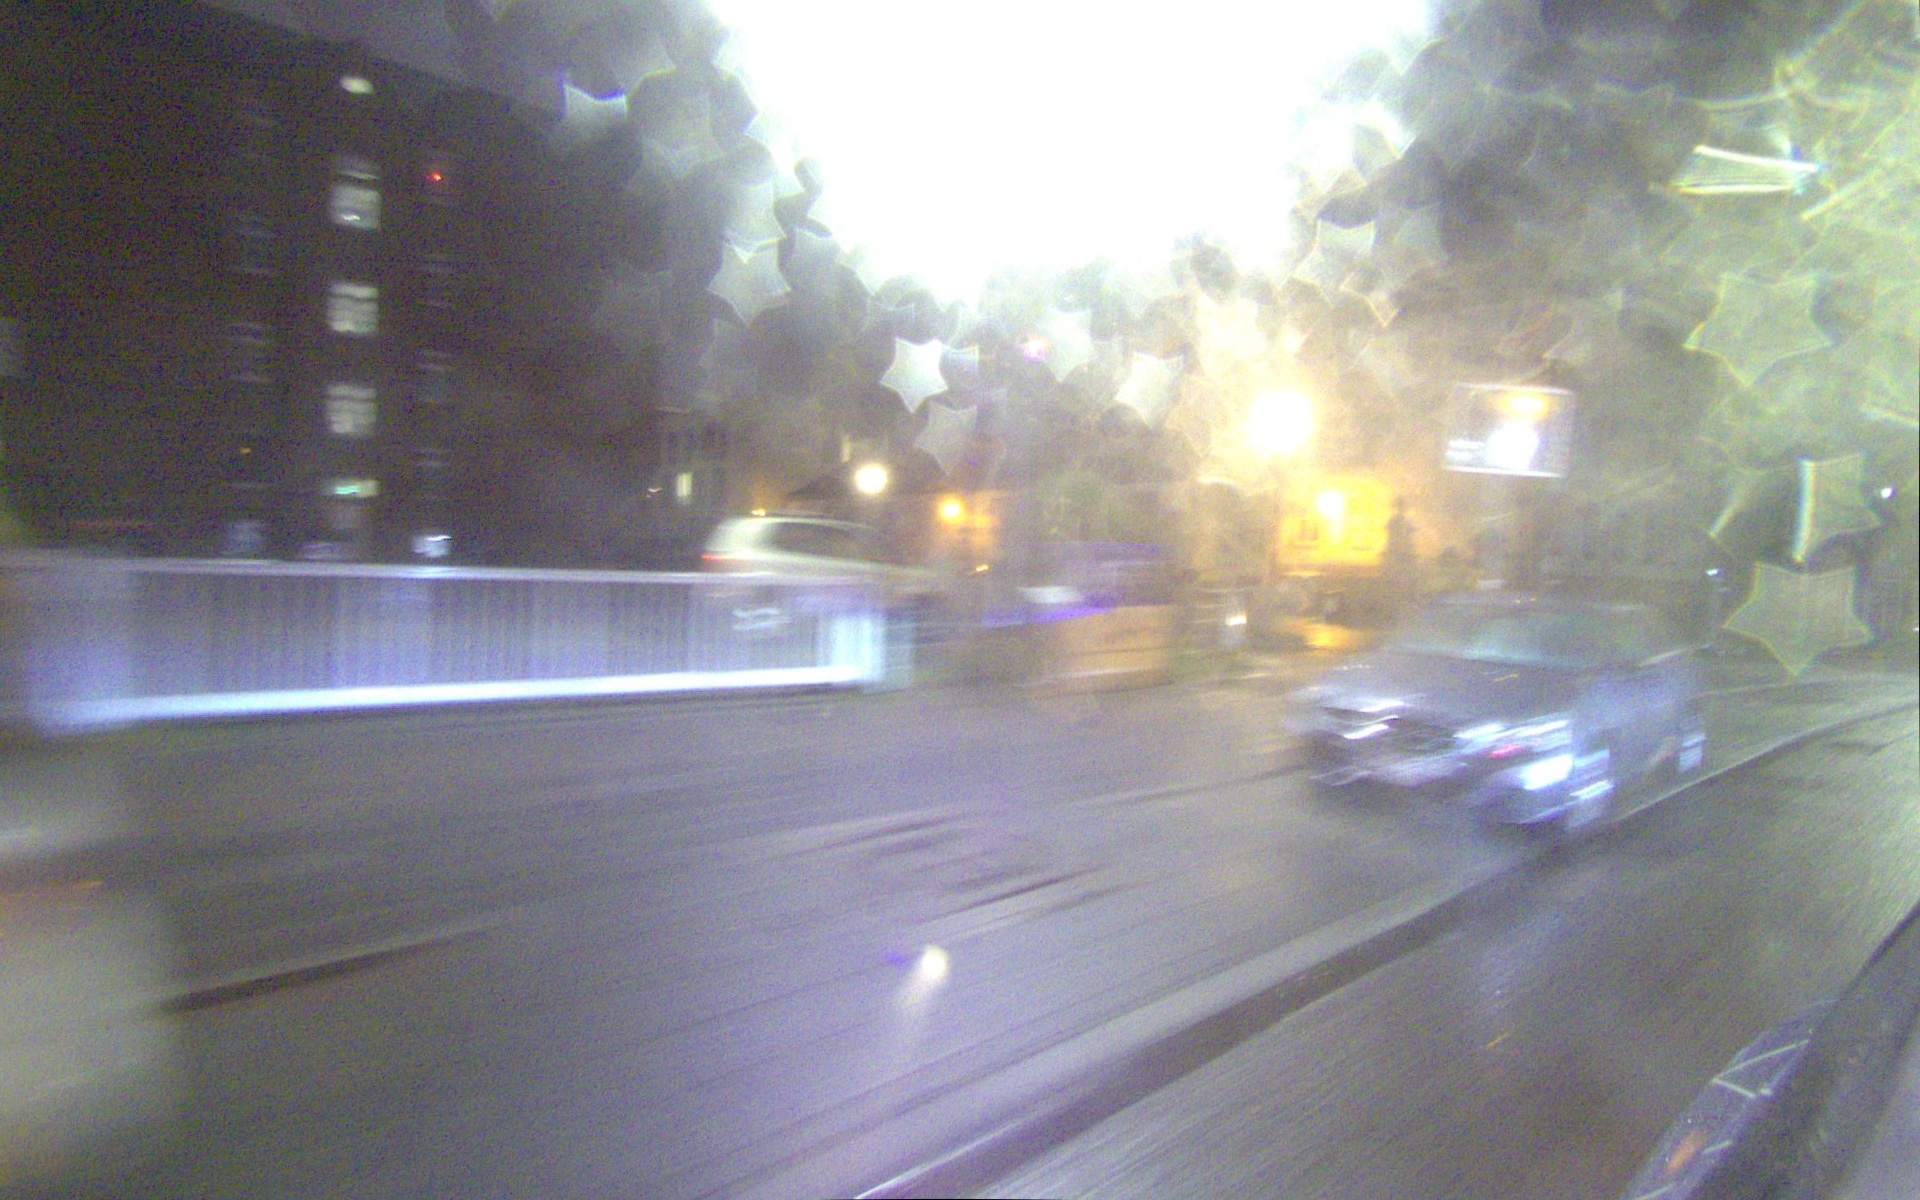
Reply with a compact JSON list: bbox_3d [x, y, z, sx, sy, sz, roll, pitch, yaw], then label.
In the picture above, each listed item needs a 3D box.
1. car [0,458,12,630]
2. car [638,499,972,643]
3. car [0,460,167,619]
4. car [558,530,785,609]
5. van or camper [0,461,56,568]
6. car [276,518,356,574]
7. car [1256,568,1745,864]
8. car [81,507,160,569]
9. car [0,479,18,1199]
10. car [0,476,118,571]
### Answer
[{"bbox_3d":[-9.678,-0.513,7.794,3.347,1.487,1.566,2,2,-41],"label":"car"},{"bbox_3d":[-2.071,-0.392,14.137,4.183,1.716,1.909,1,3,-40],"label":"car"},{"bbox_3d":[-10.975,-0.690,10.051,4.780,1.566,1.833,2,2,-41],"label":"car"},{"bbox_3d":[-5.953,-0.611,21.116,4.184,1.486,1.830,0,2,-41],"label":"car"},{"bbox_3d":[-25.408,-2.264,26.571,2.340,2.584,5.390,0,4,-40],"label":"van or camper"},{"bbox_3d":[-20.486,-1.745,32.123,1.640,1.636,3.997,0,3,-40],"label":"car"},{"bbox_3d":[4.321,0.609,7.667,4.710,1.466,1.793,0,5,-44],"label":"car"},{"bbox_3d":[-24.154,-1.792,29.138,1.640,1.636,3.997,0,3,-40],"label":"car"},{"bbox_3d":[-3.598,0.525,0.650,4.362,1.506,1.716,0,4,-43],"label":"car"},{"bbox_3d":[-15.994,-1.256,15.906,4.183,1.431,1.683,1,3,-39],"label":"car"}]
